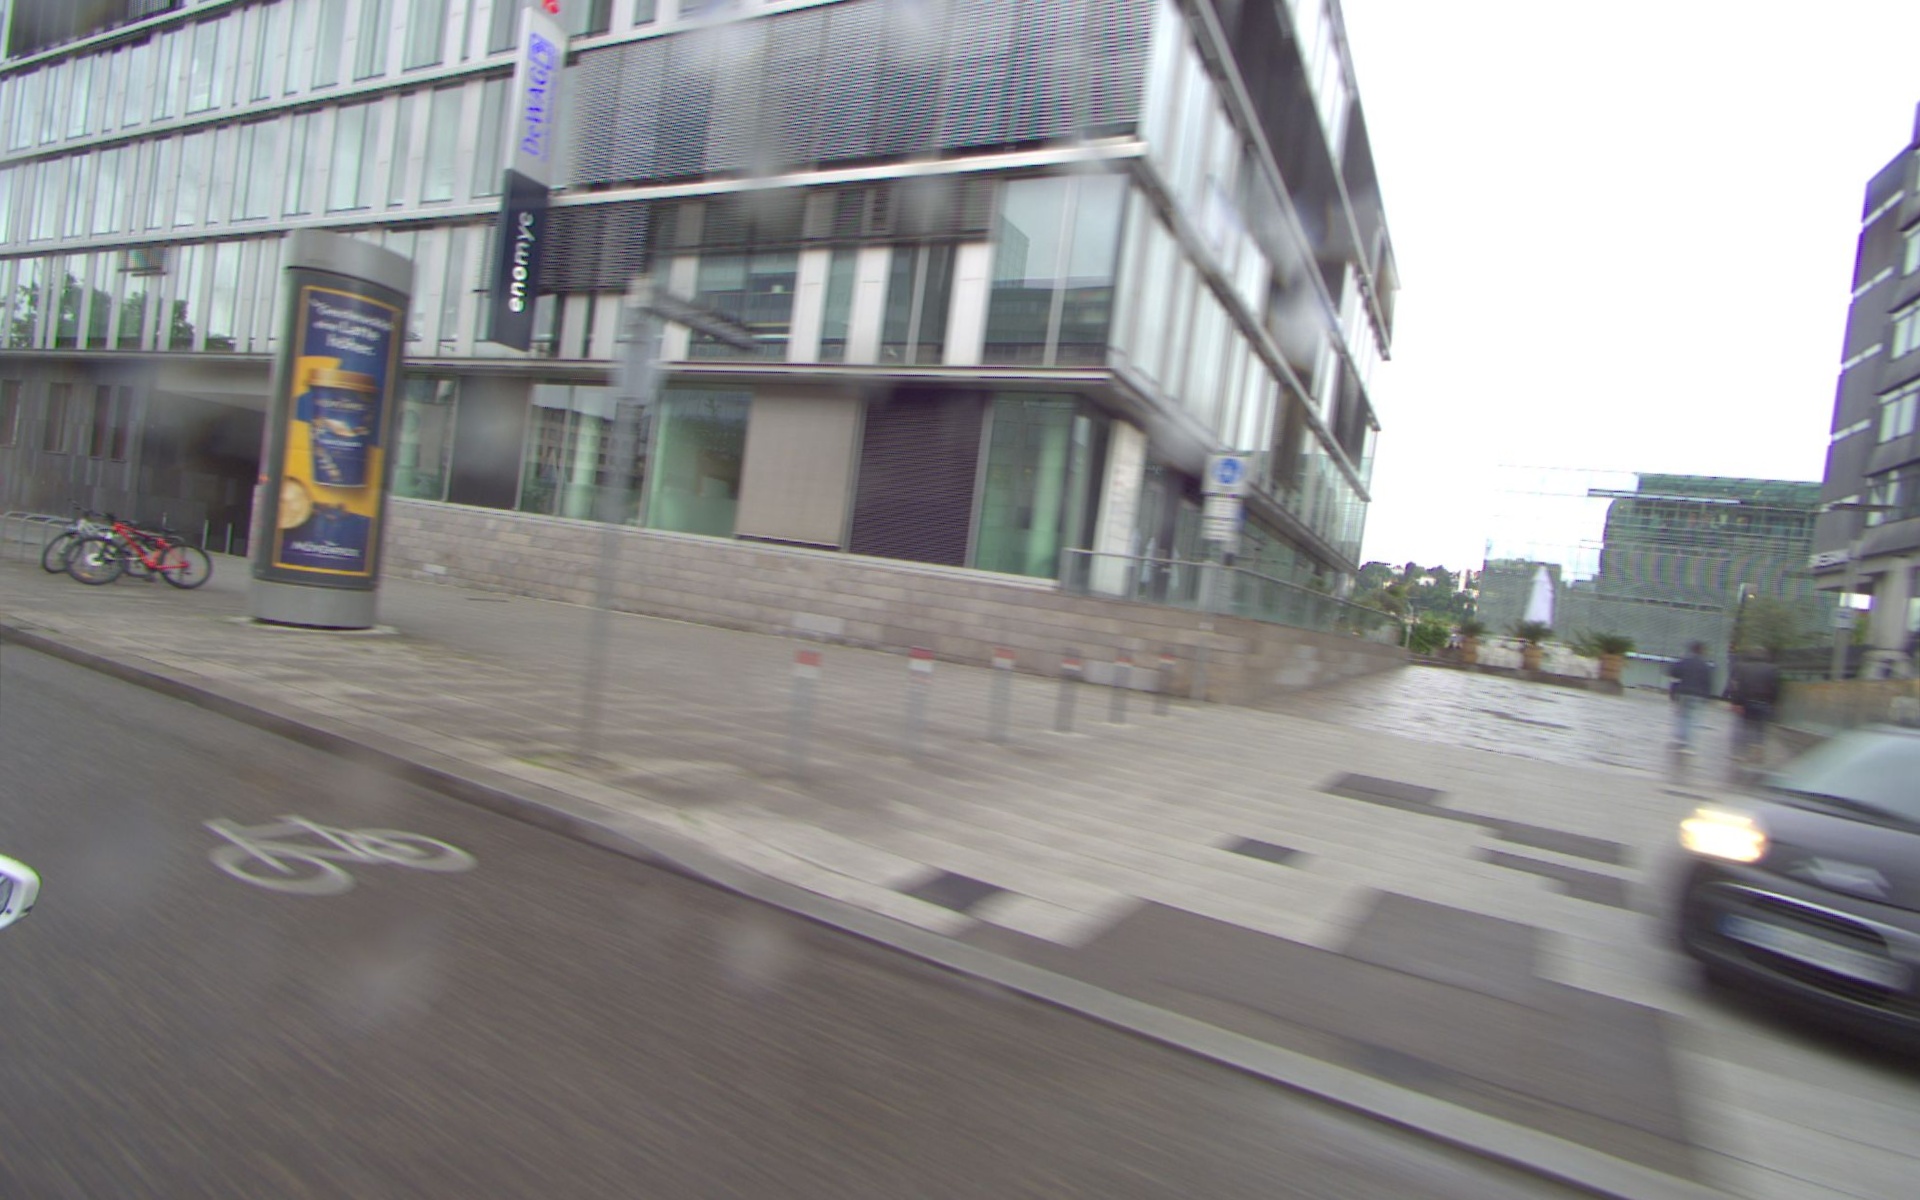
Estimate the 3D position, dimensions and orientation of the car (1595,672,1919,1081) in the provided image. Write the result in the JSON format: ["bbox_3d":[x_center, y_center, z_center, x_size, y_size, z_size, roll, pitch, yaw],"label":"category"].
[{"bbox_3d":[5.286,1.333,5.010,3.784,1.434,1.626,8,0,-23],"label":"car"}]

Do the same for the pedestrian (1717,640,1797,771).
[{"bbox_3d":[12.015,1.578,15.192,0.670,1.845,0.650,8,1,31],"label":"pedestrian"}]

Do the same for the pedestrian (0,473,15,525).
[{"bbox_3d":[-32.431,-3.426,33.724,1.081,1.713,0.718,7,3,28],"label":"pedestrian"}]

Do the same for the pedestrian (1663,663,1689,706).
[{"bbox_3d":[33.126,3.904,46.530,0.645,1.862,0.578,7,1,21],"label":"pedestrian"}]

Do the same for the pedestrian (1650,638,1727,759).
[{"bbox_3d":[11.321,1.524,15.639,0.769,1.746,0.642,8,1,37],"label":"pedestrian"}]

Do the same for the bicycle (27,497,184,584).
[{"bbox_3d":[-14.133,-0.966,16.682,0.650,1.213,1.835,8,2,36],"label":"bicycle"}]

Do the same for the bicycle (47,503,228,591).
[{"bbox_3d":[-12.686,-0.793,15.576,0.796,1.118,1.983,7,1,36],"label":"bicycle"}]
